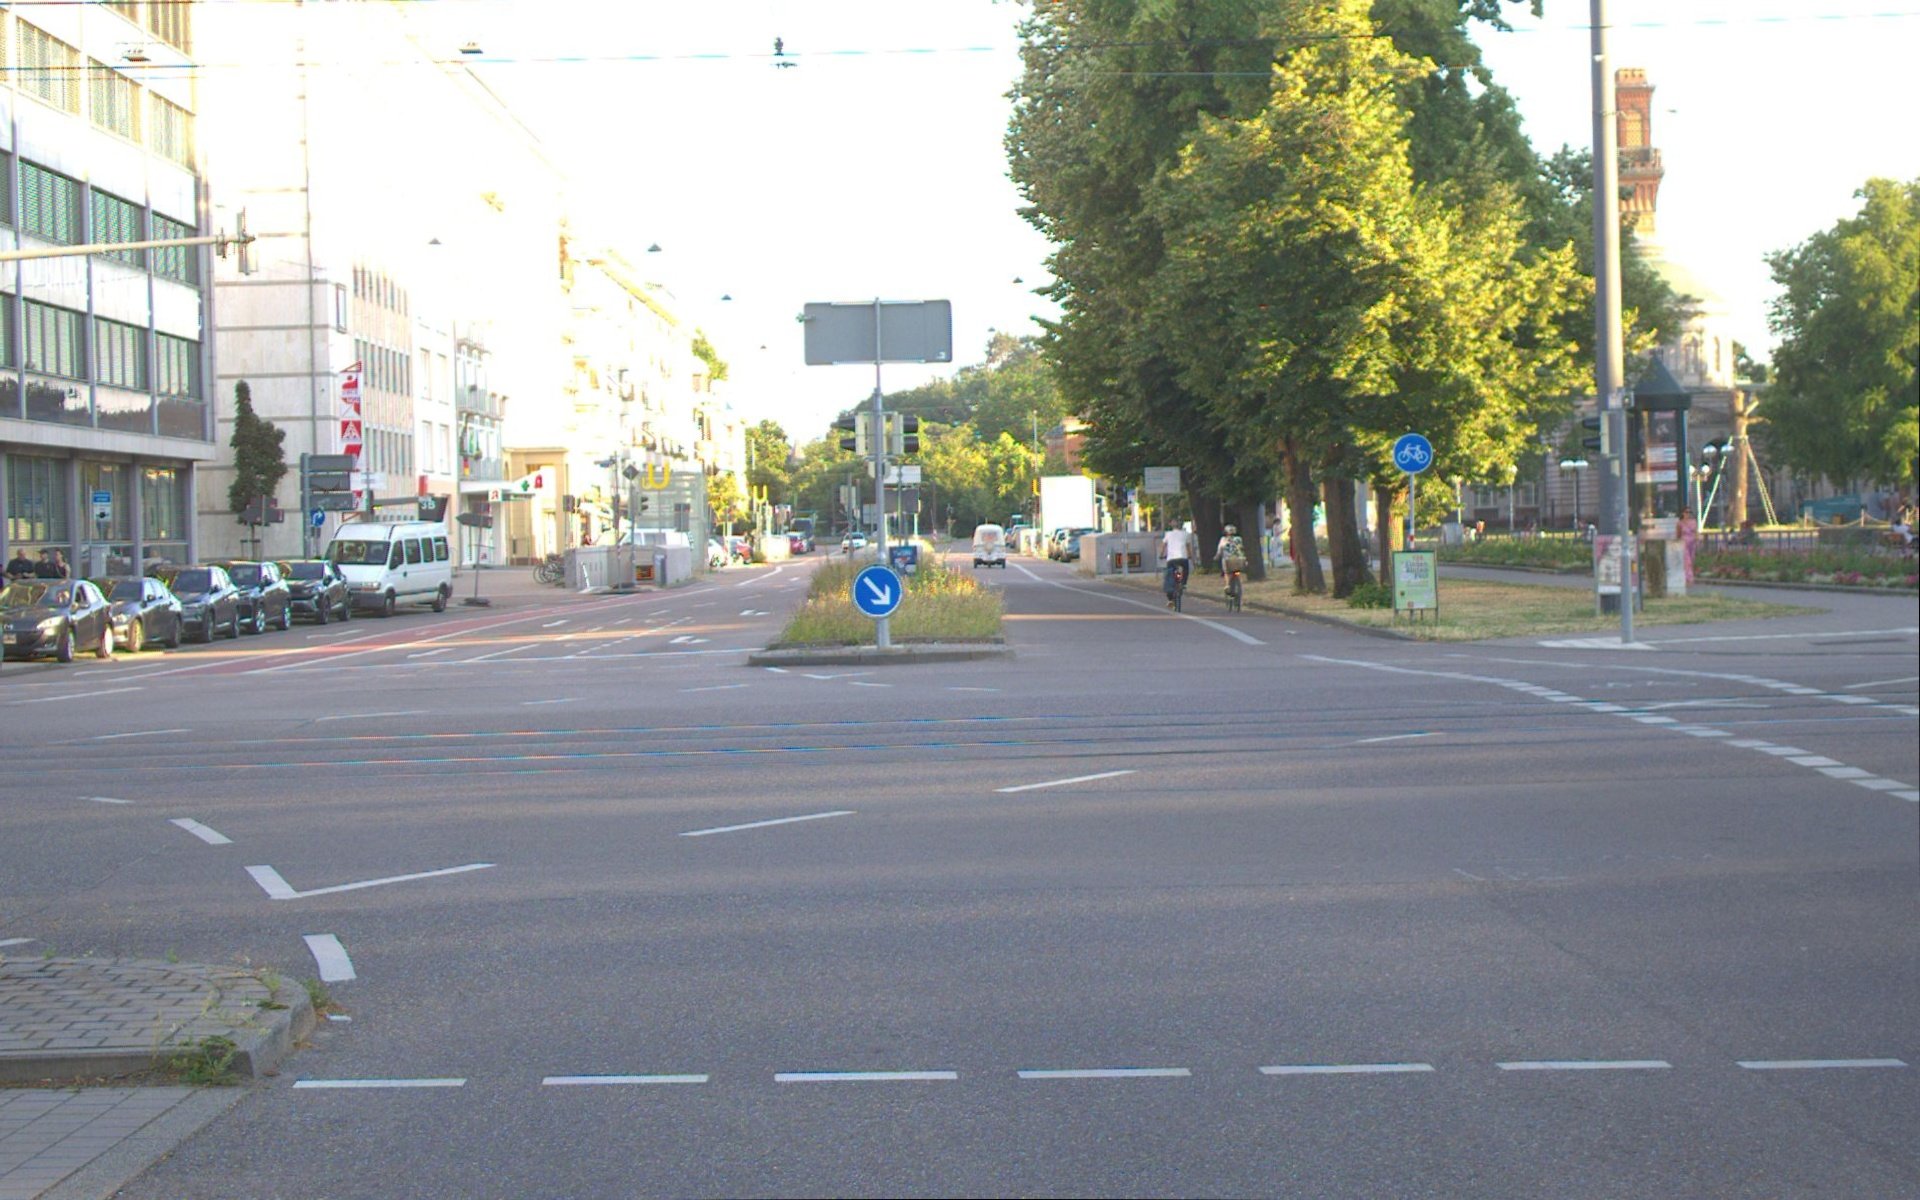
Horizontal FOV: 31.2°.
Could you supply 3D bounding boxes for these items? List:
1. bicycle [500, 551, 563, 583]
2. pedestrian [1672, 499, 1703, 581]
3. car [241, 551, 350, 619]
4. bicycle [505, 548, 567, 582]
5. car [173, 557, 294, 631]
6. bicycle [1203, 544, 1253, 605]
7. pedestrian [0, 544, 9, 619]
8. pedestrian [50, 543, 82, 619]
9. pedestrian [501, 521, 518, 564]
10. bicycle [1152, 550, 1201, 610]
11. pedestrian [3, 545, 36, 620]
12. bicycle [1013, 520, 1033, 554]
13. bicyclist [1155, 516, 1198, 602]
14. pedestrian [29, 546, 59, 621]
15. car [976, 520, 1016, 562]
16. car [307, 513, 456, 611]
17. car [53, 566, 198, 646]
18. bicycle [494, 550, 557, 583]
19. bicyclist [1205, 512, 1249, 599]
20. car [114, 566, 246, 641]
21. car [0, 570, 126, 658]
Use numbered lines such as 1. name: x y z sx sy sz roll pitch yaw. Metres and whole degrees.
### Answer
1. bicycle: -15.826 -1.234 127.058 2.205 1.108 0.689 -2 1 -2
2. pedestrian: 14.656 -1.210 69.227 0.460 1.651 0.567 -1 1 -1
3. car: -16.359 -0.386 84.785 1.920 1.563 4.000 -2 1 -1
4. bicycle: -15.902 -1.308 128.889 2.205 1.232 0.839 -2 1 -2
5. car: -16.557 -0.152 78.558 1.920 1.563 4.000 -2 1 -1
6. bicycle: 5.247 -0.517 67.421 0.746 1.140 2.505 -2 1 -1
7. pedestrian: -21.704 -0.406 77.093 0.551 1.673 0.500 -2 1 -1
8. pedestrian: -20.060 -0.429 77.152 0.551 1.673 0.500 -2 1 -1
9. pedestrian: -21.584 -2.758 164.850 0.680 2.007 0.545 -2 1 0
10. bicycle: 4.262 -0.404 67.863 0.746 1.140 2.505 -2 1 -1
11. pedestrian: -21.060 -0.396 76.963 0.551 1.673 0.500 -2 1 -1
12. bicycle: 3.803 -3.827 207.430 1.002 2.007 4.000 -1 1 4
13. bicyclist: 4.245 -0.804 67.365 0.746 1.658 0.873 -2 1 -1
14. pedestrian: -20.672 -0.378 77.613 0.500 1.673 0.500 -2 1 -1
15. car: 1.460 -2.415 140.735 1.408 1.636 4.000 -2 1 -2
16. car: -15.299 -1.056 91.235 2.002 2.469 5.865 -1 1 10
17. car: -16.575 0.100 68.442 1.920 1.459 4.000 -2 1 -1
18. bicycle: -15.840 -1.222 125.416 2.205 1.108 0.619 -2 1 -2
19. bicyclist: 5.235 -0.870 67.353 0.746 1.685 0.799 -2 1 -1
20. car: -16.579 0.051 73.257 1.920 1.459 4.000 -2 1 -1
21. car: -16.486 0.231 61.929 1.920 1.459 4.103 -2 1 -1
